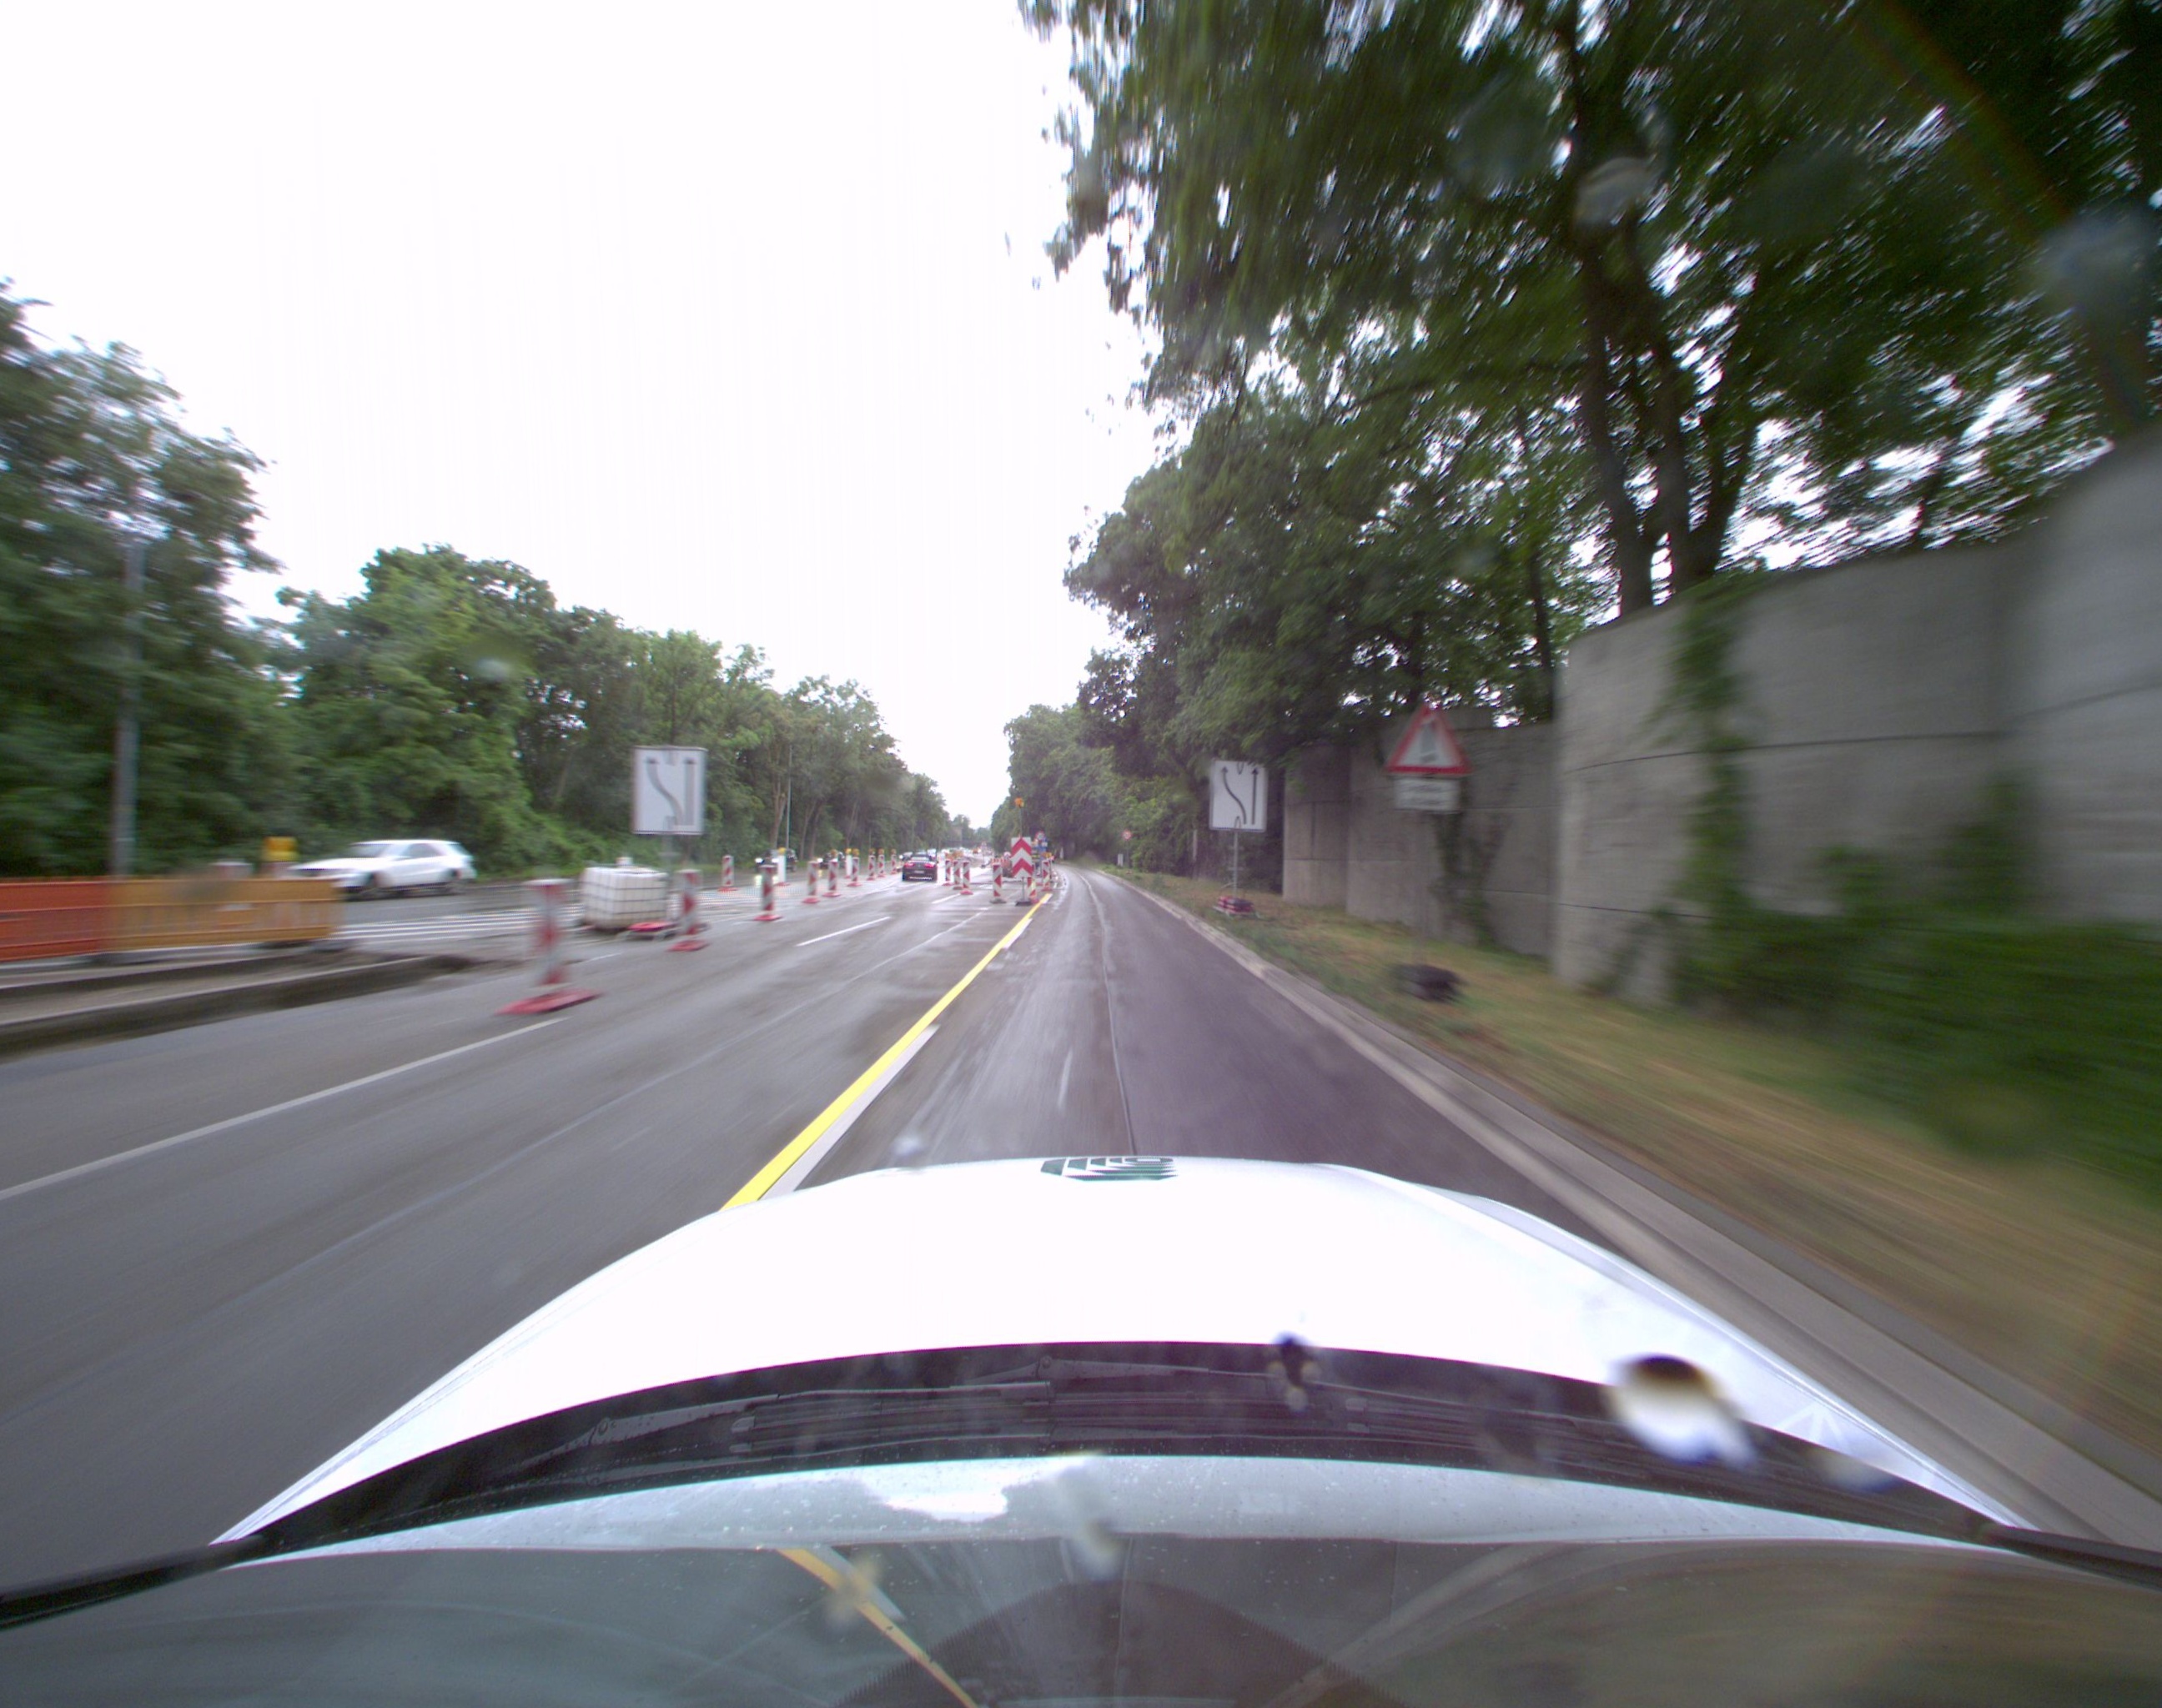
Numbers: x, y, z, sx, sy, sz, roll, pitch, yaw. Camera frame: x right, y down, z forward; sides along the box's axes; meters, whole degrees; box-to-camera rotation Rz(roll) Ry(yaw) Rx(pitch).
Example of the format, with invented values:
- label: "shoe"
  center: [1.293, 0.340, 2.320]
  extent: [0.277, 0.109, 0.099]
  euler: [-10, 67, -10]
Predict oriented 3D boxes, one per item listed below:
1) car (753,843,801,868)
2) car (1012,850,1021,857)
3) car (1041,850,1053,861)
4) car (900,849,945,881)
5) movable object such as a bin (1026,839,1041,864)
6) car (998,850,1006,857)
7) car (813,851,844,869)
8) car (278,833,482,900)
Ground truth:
- label: "car"
  center: [-20.677, 0.075, 55.508]
  extent: [1.630, 1.647, 4.199]
  euler: [0, 0, 0]
- label: "car"
  center: [-14.436, -0.065, 181.564]
  extent: [1.755, 1.344, 3.991]
  euler: [2, 1, -7]
- label: "car"
  center: [-5.361, 0.284, 128.862]
  extent: [1.909, 1.598, 4.830]
  euler: [1, 1, -2]
- label: "car"
  center: [-8.714, 0.575, 45.008]
  extent: [1.858, 1.491, 3.996]
  euler: [2, 2, -4]
- label: "movable object such as a bin"
  center: [-5.626, -0.290, 96.158]
  extent: [1.743, 2.867, 3.530]
  euler: [0, 0, -4]
- label: "car"
  center: [-20.764, -0.184, 213.768]
  extent: [1.870, 1.618, 3.997]
  euler: [3, 1, -2]
- label: "car"
  center: [-21.695, 0.484, 70.107]
  extent: [1.520, 1.457, 3.539]
  euler: [-1, 0, 0]
- label: "car"
  center: [-20.828, 0.329, 24.540]
  extent: [1.837, 1.723, 4.722]
  euler: [-3, 0, 2]
